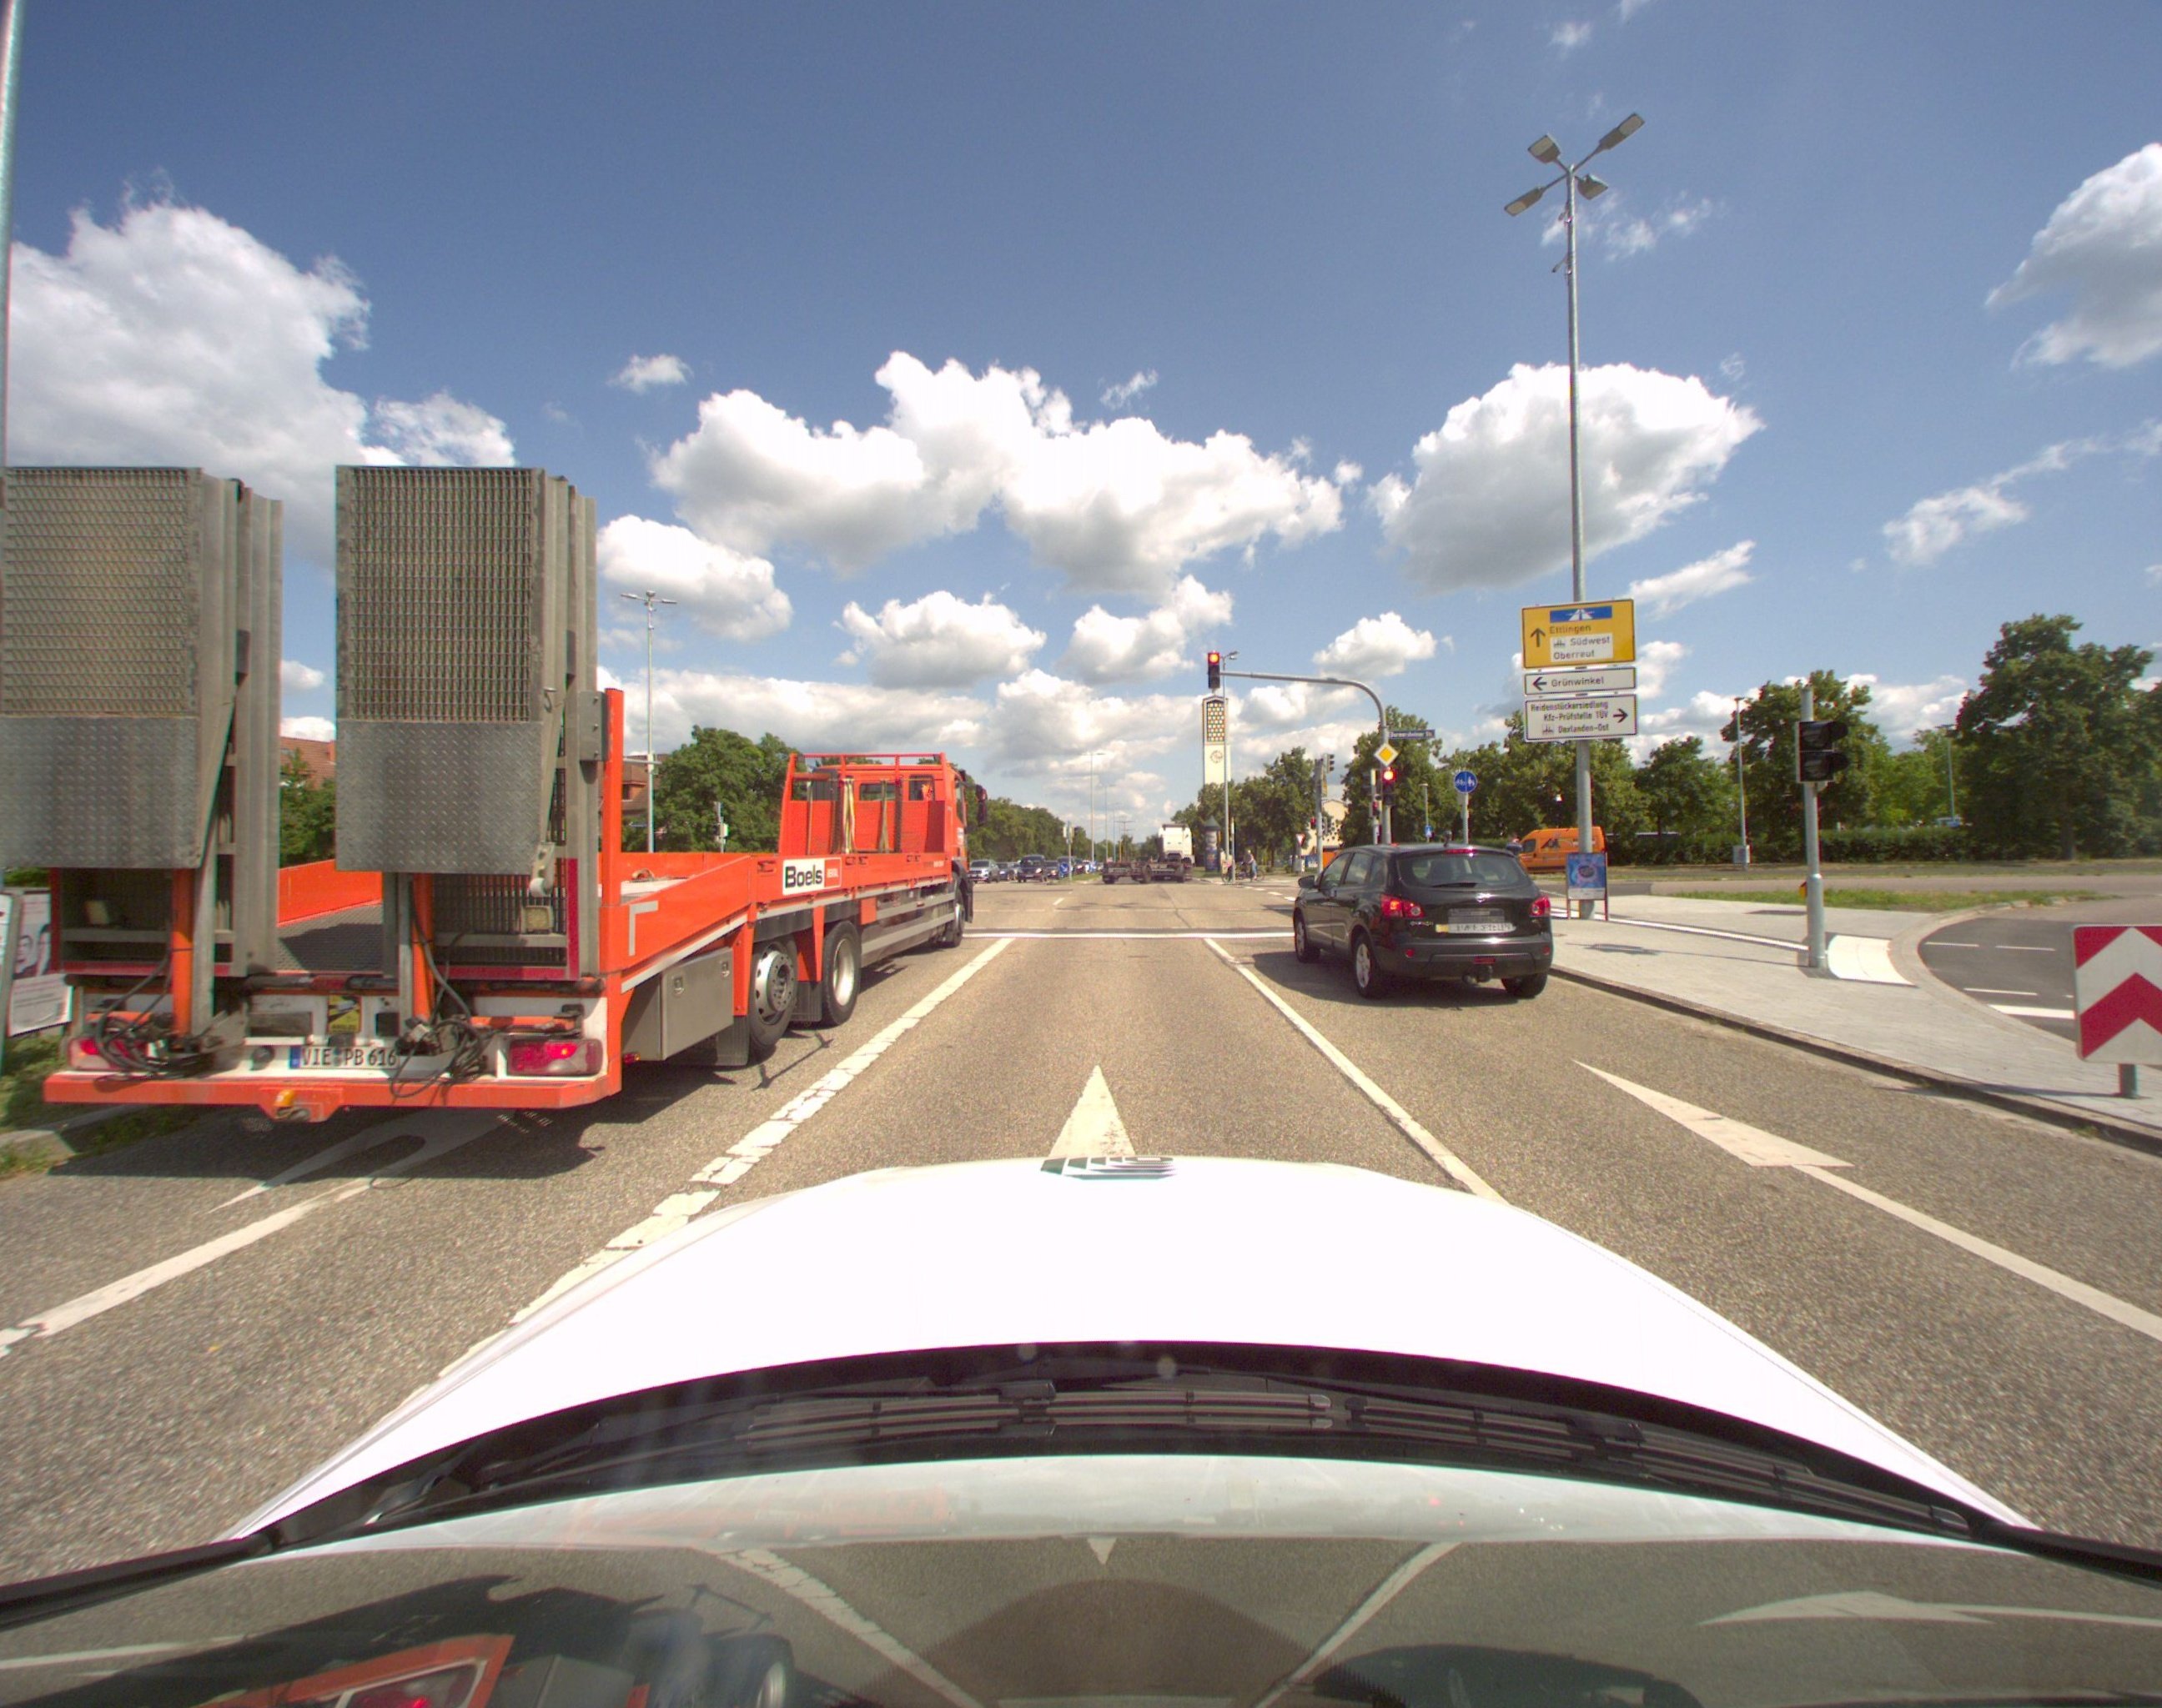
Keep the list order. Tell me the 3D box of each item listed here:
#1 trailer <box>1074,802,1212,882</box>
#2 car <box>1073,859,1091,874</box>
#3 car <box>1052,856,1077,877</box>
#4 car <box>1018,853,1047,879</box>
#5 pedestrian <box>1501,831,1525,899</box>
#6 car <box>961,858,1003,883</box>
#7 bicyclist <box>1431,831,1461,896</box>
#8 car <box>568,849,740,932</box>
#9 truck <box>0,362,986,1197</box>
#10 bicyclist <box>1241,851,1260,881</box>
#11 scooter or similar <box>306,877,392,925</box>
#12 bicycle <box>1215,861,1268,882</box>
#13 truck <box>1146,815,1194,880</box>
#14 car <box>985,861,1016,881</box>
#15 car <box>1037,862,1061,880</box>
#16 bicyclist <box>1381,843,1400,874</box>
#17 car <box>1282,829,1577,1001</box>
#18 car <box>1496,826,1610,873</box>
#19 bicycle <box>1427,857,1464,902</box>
[{"bbox_3d":[3.897,-0.473,46.368,3.586,4.012,11.386,-1,-1,28],"label":"trailer"},{"bbox_3d":[0.113,1.452,92.720,1.727,1.660,4.235,1,-1,4],"label":"car"},{"bbox_3d":[-1.369,0.993,68.473,1.727,1.660,4.235,1,0,3],"label":"car"},{"bbox_3d":[-3.132,0.780,53.235,1.730,1.660,4.228,1,-1,-2],"label":"car"},{"bbox_3d":[11.376,0.283,21.452,0.461,1.779,0.483,1,-1,12],"label":"pedestrian"},{"bbox_3d":[-6.466,1.088,53.628,1.725,1.543,4.317,1,-1,7],"label":"car"},{"bbox_3d":[9.559,0.245,21.338,0.643,1.661,0.653,1,-1,17],"label":"bicyclist"},{"bbox_3d":[-9.793,0.771,19.064,1.788,1.689,4.001,-2,0,1],"label":"car"},{"bbox_3d":[-3.355,-0.256,8.898,3.060,3.414,11.069,1,-1,1],"label":"truck"},{"bbox_3d":[9.318,0.652,44.854,0.701,1.616,0.792,-1,0,-21],"label":"bicyclist"},{"bbox_3d":[-18.972,1.202,21.169,0.587,1.164,1.762,1,-1,1],"label":"scooter or similar"},{"bbox_3d":[8.800,0.947,44.655,2.843,1.112,0.792,-1,0,-21],"label":"bicycle"},{"bbox_3d":[5.974,-0.293,53.934,2.943,3.971,8.654,0,-1,7],"label":"truck"},{"bbox_3d":[-5.895,1.245,60.113,1.756,1.352,3.521,-1,-1,3],"label":"car"},{"bbox_3d":[-2.368,1.240,60.895,1.562,1.316,3.432,1,-1,1],"label":"car"},{"bbox_3d":[18.511,0.258,48.643,0.789,1.804,0.681,0,-1,-19],"label":"bicyclist"},{"bbox_3d":[3.693,0.583,9.467,1.793,1.552,4.000,1,-1,1],"label":"car"},{"bbox_3d":[23.536,-0.211,40.710,4.797,2.226,2.225,0,-1,31],"label":"car"},{"bbox_3d":[9.609,0.660,21.519,0.643,1.108,1.936,1,-1,17],"label":"bicycle"}]
